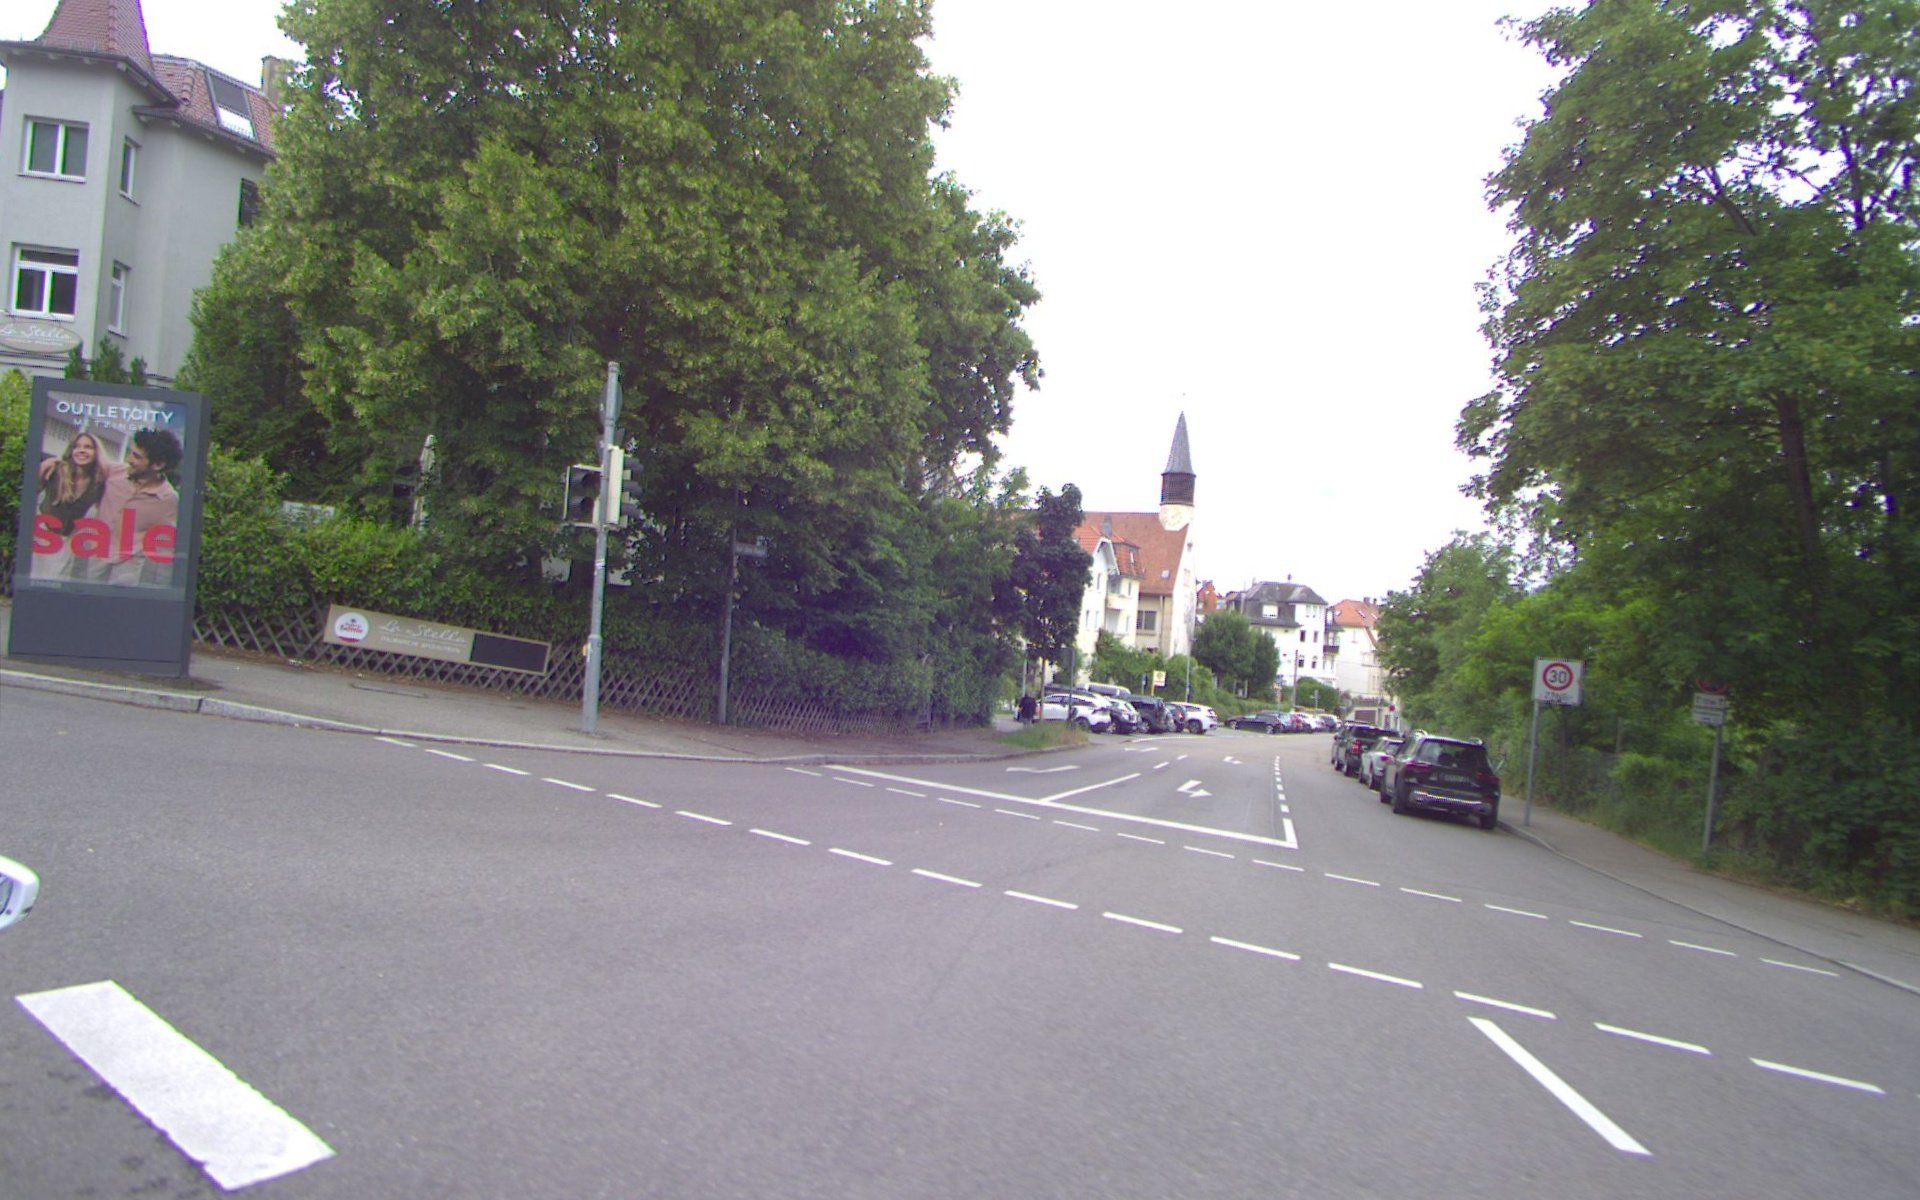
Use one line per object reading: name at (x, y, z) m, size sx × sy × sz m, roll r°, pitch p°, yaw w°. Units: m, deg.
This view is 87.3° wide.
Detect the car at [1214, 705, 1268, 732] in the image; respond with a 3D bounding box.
car at (21.489, 9.062, 77.024) m, size 3.648 × 1.470 × 1.569 m, roll 6°, pitch -3°, yaw 27°

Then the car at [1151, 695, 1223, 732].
car at (13.121, 6.553, 58.179) m, size 3.652 × 1.526 × 1.568 m, roll 6°, pitch -3°, yaw 32°

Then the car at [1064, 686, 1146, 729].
car at (6.817, 5.050, 47.335) m, size 3.411 × 1.533 × 1.435 m, roll 6°, pitch -3°, yaw 30°

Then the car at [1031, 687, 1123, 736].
car at (4.923, 4.670, 42.358) m, size 3.411 × 1.533 × 1.435 m, roll 6°, pitch -3°, yaw 30°

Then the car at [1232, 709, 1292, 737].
car at (22.348, 9.096, 74.498) m, size 3.912 × 1.470 × 1.569 m, roll 6°, pitch -3°, yaw 27°

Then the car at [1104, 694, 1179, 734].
car at (9.354, 5.868, 51.958) m, size 3.414 × 1.533 × 1.434 m, roll 6°, pitch -3°, yaw 33°

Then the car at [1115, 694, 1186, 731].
car at (10.490, 6.205, 55.531) m, size 3.414 × 1.533 × 1.434 m, roll 6°, pitch -3°, yaw 33°

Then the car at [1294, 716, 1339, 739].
car at (34.086, 12.174, 96.164) m, size 3.656 × 1.613 × 1.566 m, roll 6°, pitch -4°, yaw 36°

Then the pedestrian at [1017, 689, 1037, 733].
pedestrian at (2.458, 4.049, 36.856) m, size 0.504 × 1.534 × 0.523 m, roll 7°, pitch -2°, yaw 8°

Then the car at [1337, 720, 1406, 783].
car at (13.340, 4.862, 32.820) m, size 1.600 × 1.645 × 4.512 m, roll 7°, pitch -4°, yaw 19°

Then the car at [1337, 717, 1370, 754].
car at (22.306, 7.652, 57.082) m, size 1.537 × 1.738 × 4.261 m, roll 7°, pitch -4°, yaw 22°

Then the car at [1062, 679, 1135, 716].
car at (9.545, 6.726, 69.225) m, size 4.473 × 1.897 × 1.936 m, roll 7°, pitch -3°, yaw 21°

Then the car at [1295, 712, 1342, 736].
car at (33.394, 11.527, 93.698) m, size 3.656 × 1.632 × 1.566 m, roll 6°, pitch -4°, yaw 36°

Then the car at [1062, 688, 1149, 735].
car at (6.444, 4.950, 44.628) m, size 3.411 × 1.533 × 1.435 m, roll 6°, pitch -3°, yaw 30°

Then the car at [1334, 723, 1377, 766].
car at (17.249, 6.280, 43.988) m, size 1.537 × 1.529 × 4.047 m, roll 7°, pitch -4°, yaw 21°

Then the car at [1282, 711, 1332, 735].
car at (30.029, 10.647, 86.993) m, size 3.656 × 1.521 × 1.566 m, roll 6°, pitch -4°, yaw 36°

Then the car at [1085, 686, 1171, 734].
car at (8.264, 5.396, 49.504) m, size 3.650 × 1.788 × 1.678 m, roll 6°, pitch -3°, yaw 30°

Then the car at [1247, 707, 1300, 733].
car at (24.621, 9.439, 79.025) m, size 3.648 × 1.470 × 1.874 m, roll 6°, pitch -3°, yaw 27°

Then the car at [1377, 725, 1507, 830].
car at (9.787, 3.536, 20.734) m, size 1.715 × 1.636 × 4.275 m, roll 7°, pitch -4°, yaw 19°

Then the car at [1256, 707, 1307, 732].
car at (26.269, 9.794, 82.320) m, size 3.648 × 1.470 × 1.569 m, roll 6°, pitch -3°, yaw 27°

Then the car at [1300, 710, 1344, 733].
car at (35.426, 11.884, 98.577) m, size 3.656 × 1.613 × 1.566 m, roll 6°, pitch -4°, yaw 36°

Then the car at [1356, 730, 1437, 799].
car at (11.948, 4.460, 27.703) m, size 1.599 × 1.470 × 3.785 m, roll 5°, pitch -4°, yaw 19°
